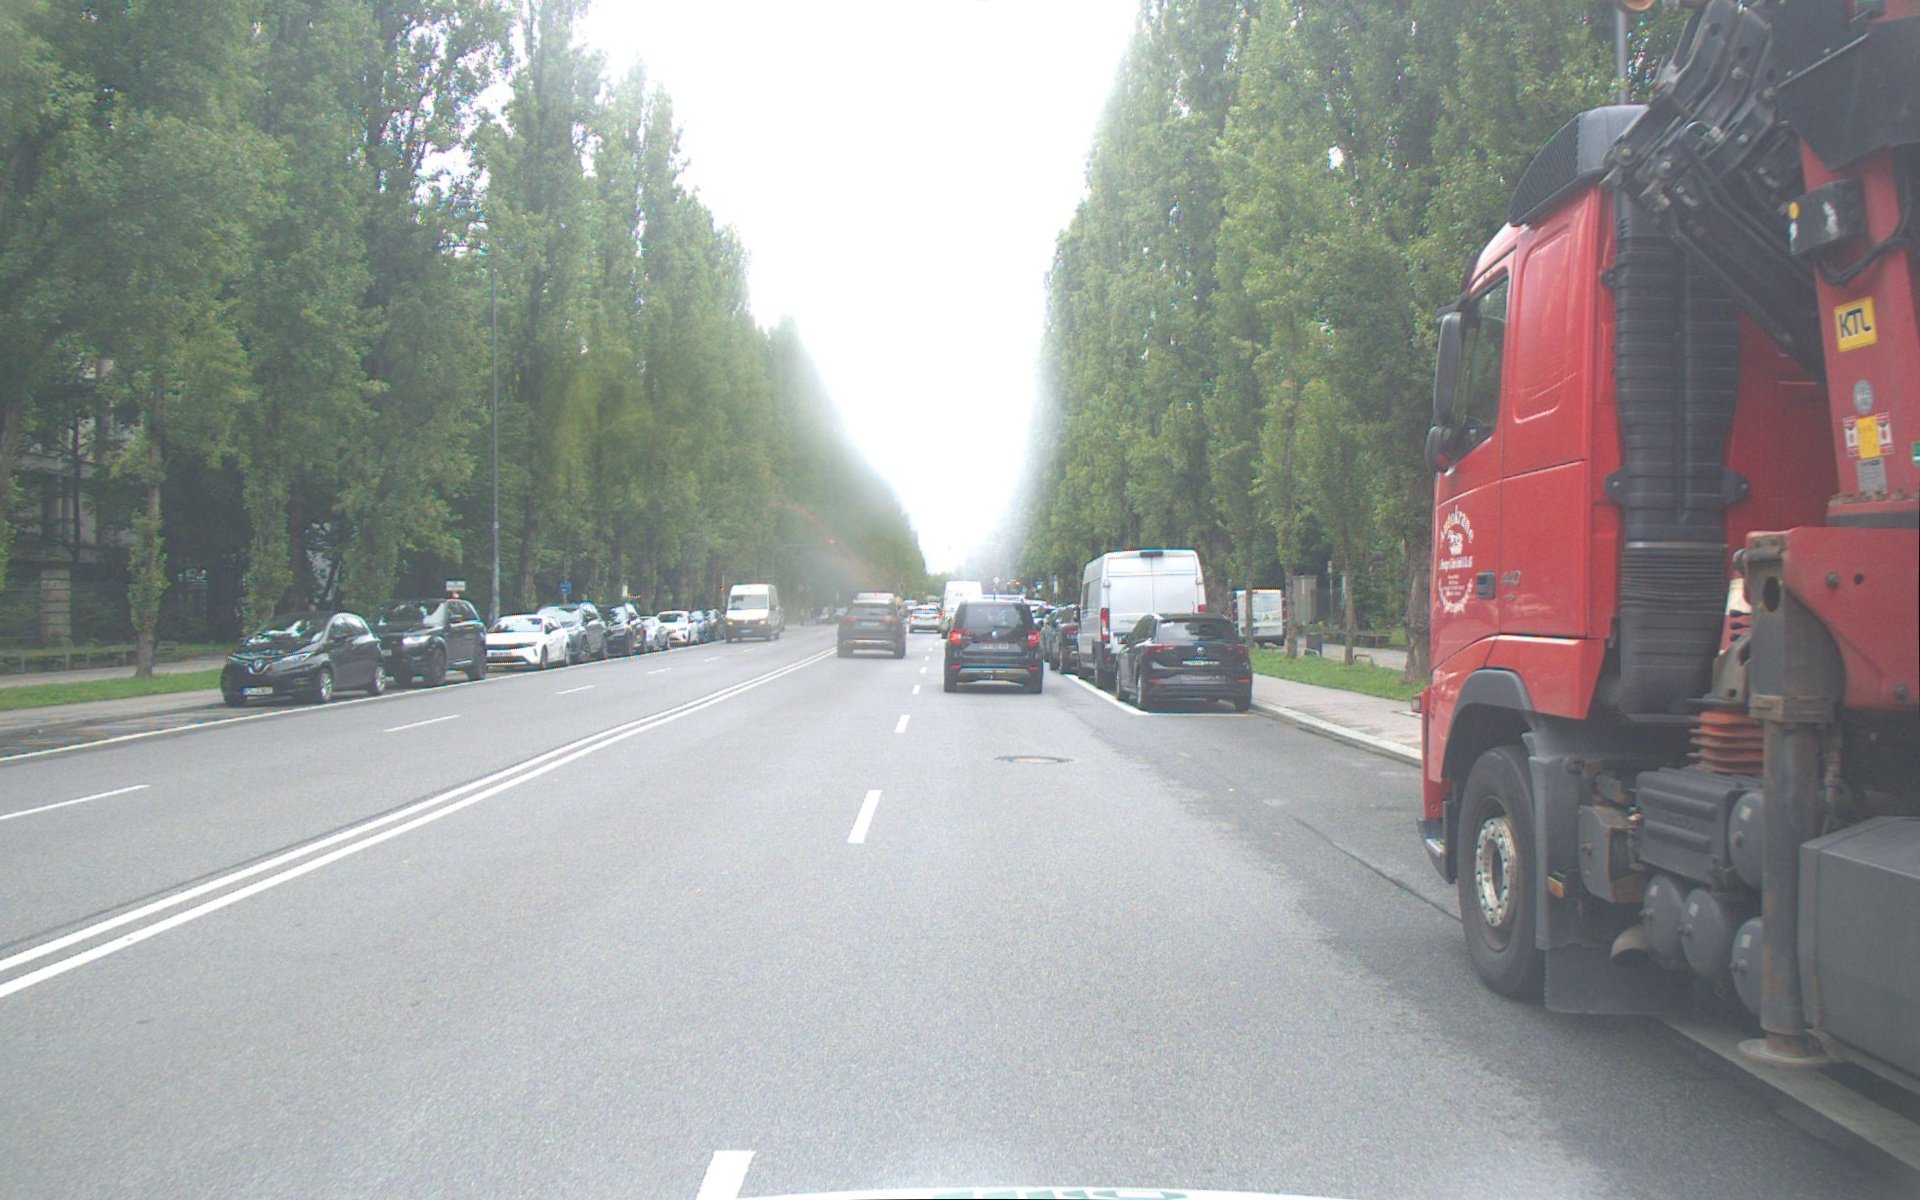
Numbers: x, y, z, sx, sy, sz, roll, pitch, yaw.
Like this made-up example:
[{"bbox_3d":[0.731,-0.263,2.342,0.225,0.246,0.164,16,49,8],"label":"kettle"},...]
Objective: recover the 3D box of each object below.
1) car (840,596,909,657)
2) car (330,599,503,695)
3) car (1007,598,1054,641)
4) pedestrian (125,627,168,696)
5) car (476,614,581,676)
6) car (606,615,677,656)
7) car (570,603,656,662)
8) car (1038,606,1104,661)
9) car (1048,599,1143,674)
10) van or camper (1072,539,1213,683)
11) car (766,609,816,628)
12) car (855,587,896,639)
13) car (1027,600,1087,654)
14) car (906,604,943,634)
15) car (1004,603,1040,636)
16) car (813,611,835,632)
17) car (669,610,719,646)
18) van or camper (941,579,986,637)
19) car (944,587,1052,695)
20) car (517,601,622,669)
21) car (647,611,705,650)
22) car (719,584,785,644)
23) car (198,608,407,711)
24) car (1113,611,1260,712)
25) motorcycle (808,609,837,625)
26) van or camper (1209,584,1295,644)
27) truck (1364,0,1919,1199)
[{"bbox_3d":[-2.441,0.723,48.088,1.745,1.648,4.025,2,0,0],"label":"car"},{"bbox_3d":[-11.550,0.956,35.522,2.004,1.818,4.800,-3,0,1],"label":"car"},{"bbox_3d":[3.251,0.868,76.920,1.814,1.914,4.166,0,0,-2],"label":"car"},{"bbox_3d":[-21.165,1.593,43.048,0.652,1.772,0.957,-1,0,0],"label":"pedestrian"},{"bbox_3d":[-11.460,1.164,44.174,1.669,1.484,4.272,-3,0,-1],"label":"car"},{"bbox_3d":[-11.687,1.274,60.949,1.789,1.357,4.233,-3,0,-1],"label":"car"},{"bbox_3d":[-11.564,1.046,55.423,1.902,1.798,4.894,-3,0,-2],"label":"car"},{"bbox_3d":[3.297,0.975,49.722,1.668,1.546,4.294,0,0,0],"label":"car"},{"bbox_3d":[3.177,0.831,39.580,1.749,1.677,4.416,0,0,-2],"label":"car"},{"bbox_3d":[3.524,0.214,33.136,2.095,2.585,6.417,0,0,0],"label":"van or camper"},{"bbox_3d":[-12.843,1.424,125.899,1.679,1.390,3.805,-1,0,38],"label":"car"},{"bbox_3d":[-3.734,0.601,73.097,1.746,2.149,4.021,1,-2,-3],"label":"car"},{"bbox_3d":[3.163,0.848,54.653,1.707,1.705,4.579,0,0,0],"label":"car"},{"bbox_3d":[-1.938,1.043,90.442,1.953,1.588,3.999,0,0,-1],"label":"car"},{"bbox_3d":[3.129,0.964,84.128,1.705,1.621,4.211,0,0,0],"label":"car"},{"bbox_3d":[-12.071,1.859,146.789,1.654,1.814,3.774,0,0,0],"label":"car"},{"bbox_3d":[-11.838,1.242,73.845,1.675,1.476,3.585,-3,0,-2],"label":"car"},{"bbox_3d":[0.124,0.370,76.625,1.935,2.593,4.023,0,0,-2],"label":"van or camper"},{"bbox_3d":[0.656,0.705,30.335,1.818,1.801,4.000,2,0,0],"label":"car"},{"bbox_3d":[-11.622,1.004,49.554,1.870,1.821,5.179,-3,0,-1],"label":"car"},{"bbox_3d":[-11.916,1.259,69.605,1.735,1.477,4.232,-3,0,-2],"label":"car"},{"bbox_3d":[-9.427,0.636,75.453,2.183,2.526,6.756,-2,0,-1],"label":"car"},{"bbox_3d":[-11.657,1.002,29.671,1.905,1.611,4.389,-2,0,0],"label":"car"},{"bbox_3d":[3.468,0.899,25.944,1.642,1.445,3.999,0,0,-2],"label":"car"},{"bbox_3d":[-11.452,1.421,138.039,2.315,1.292,0.930,0,0,0],"label":"motorcycle"},{"bbox_3d":[10.063,0.462,57.390,2.033,1.967,5.368,1,0,0],"label":"van or camper"},{"bbox_3d":[3.416,-0.370,2.819,2.787,3.627,10.277,0,0,-1],"label":"truck"}]
